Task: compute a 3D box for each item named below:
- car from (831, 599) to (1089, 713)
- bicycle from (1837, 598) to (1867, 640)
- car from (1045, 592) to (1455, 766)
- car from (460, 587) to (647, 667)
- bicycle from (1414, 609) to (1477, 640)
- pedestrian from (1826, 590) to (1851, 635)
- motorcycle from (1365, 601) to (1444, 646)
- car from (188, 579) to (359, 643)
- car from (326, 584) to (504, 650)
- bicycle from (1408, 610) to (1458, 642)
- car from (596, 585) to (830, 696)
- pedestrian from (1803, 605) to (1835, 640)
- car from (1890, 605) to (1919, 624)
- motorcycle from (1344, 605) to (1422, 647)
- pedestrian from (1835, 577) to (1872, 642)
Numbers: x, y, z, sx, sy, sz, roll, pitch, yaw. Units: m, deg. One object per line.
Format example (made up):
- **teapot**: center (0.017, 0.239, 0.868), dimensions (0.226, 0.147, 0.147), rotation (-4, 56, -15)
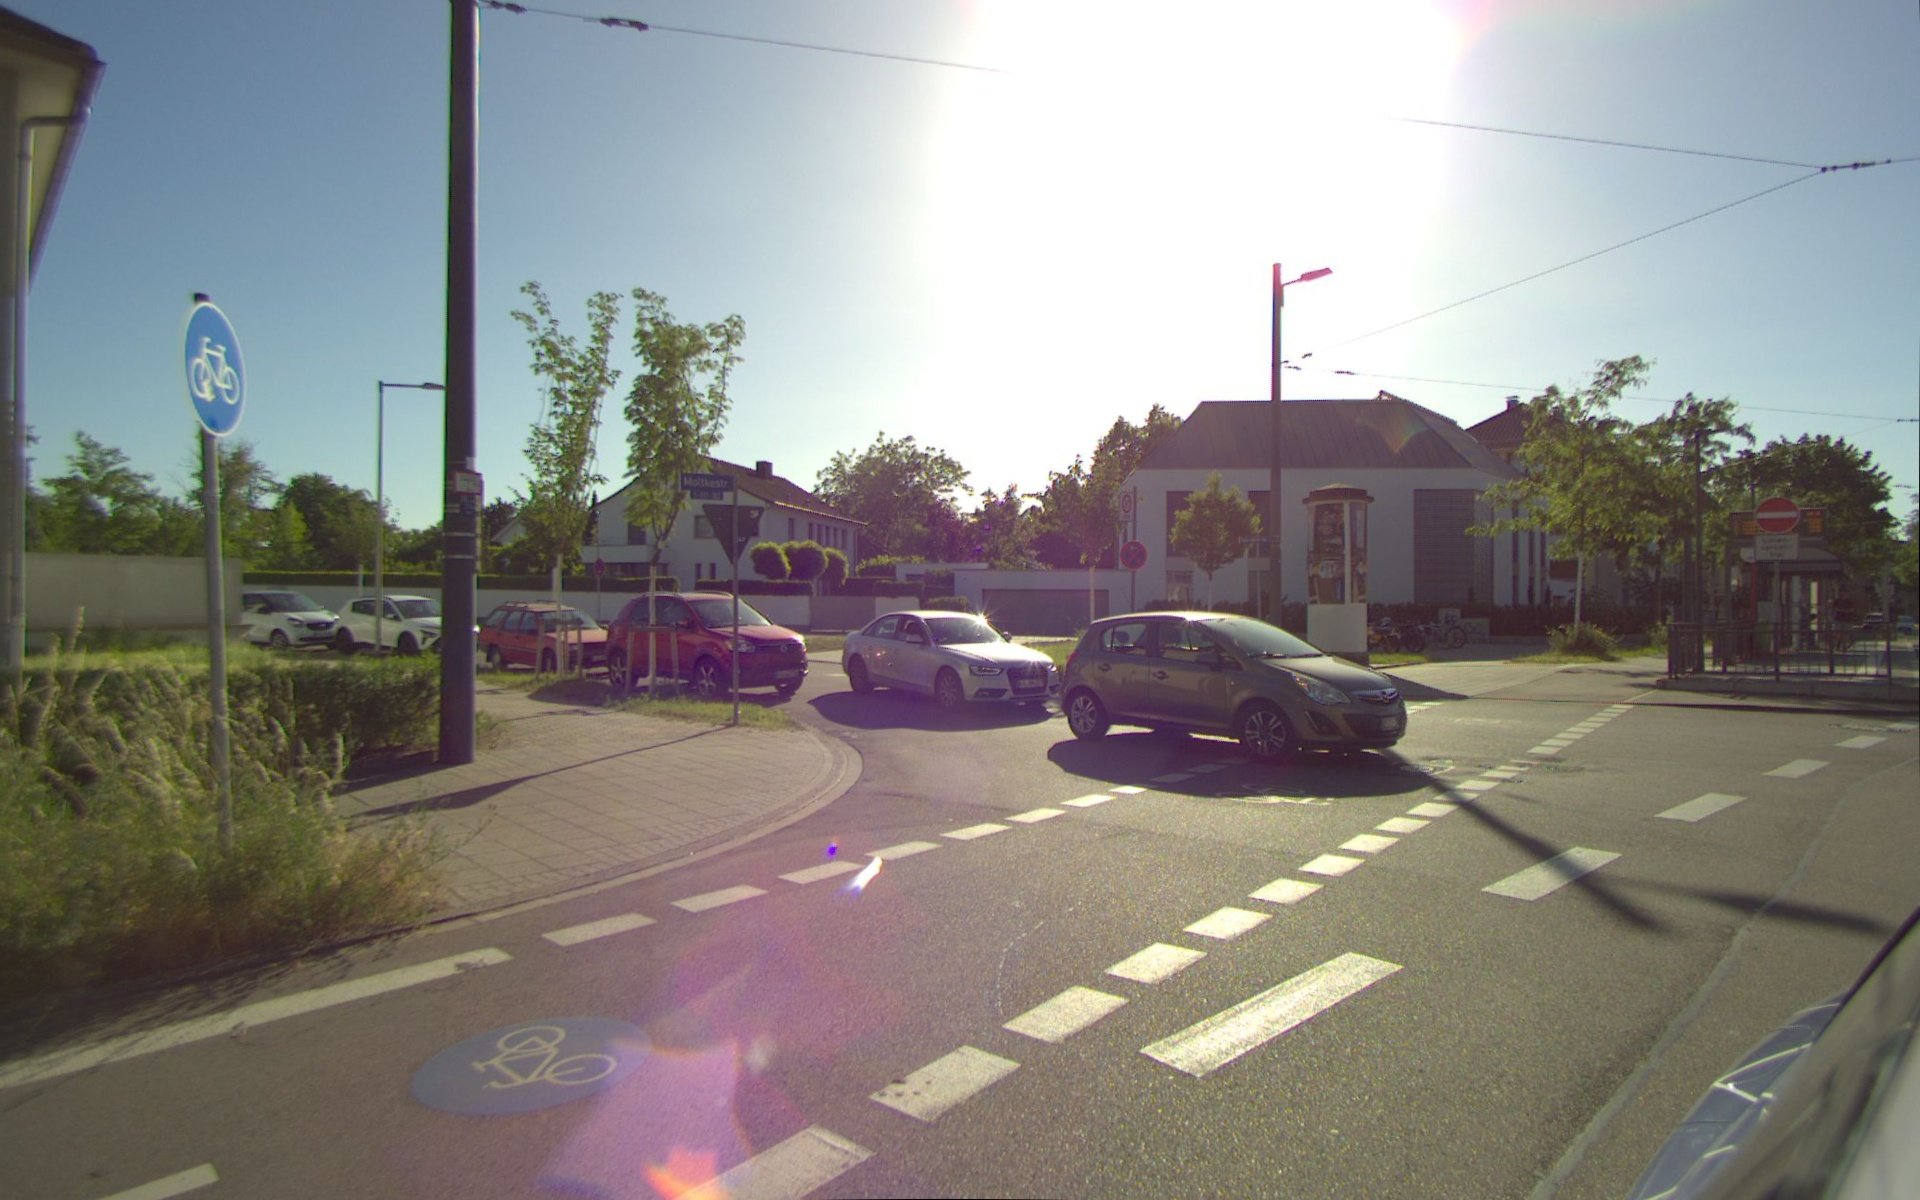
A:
- **car**: center (-0.173, 0.771, 16.388), dimensions (1.944, 1.484, 4.619), rotation (-1, 1, -34)
- **bicycle**: center (27.438, 0.573, 31.139), dimensions (0.619, 1.245, 1.938), rotation (-1, -1, 40)
- **car**: center (2.975, 0.703, 11.122), dimensions (1.945, 1.527, 3.999), rotation (0, 0, -36)
- **car**: center (-8.694, 0.522, 21.506), dimensions (4.155, 1.527, 1.954), rotation (0, -1, 39)
- **bicycle**: center (16.701, 0.834, 34.813), dimensions (1.893, 0.991, 0.484), rotation (1, 0, 38)
- **pedestrian**: center (33.945, 0.471, 39.091), dimensions (0.671, 1.726, 0.680), rotation (-2, -2, 43)
- **motorcycle**: center (13.578, 0.699, 30.952), dimensions (2.073, 1.290, 0.850), rotation (0, 0, 38)
- **car**: center (-18.345, 0.326, 27.076), dimensions (3.954, 1.594, 1.984), rotation (-1, -2, 23)
- **car**: center (-13.620, 0.397, 25.291), dimensions (4.136, 1.527, 1.963), rotation (0, 0, 27)
- **bicycle**: center (15.749, 0.857, 33.696), dimensions (1.467, 0.991, 0.410), rotation (0, 0, 38)
- **car**: center (-4.316, 0.613, 17.371), dimensions (4.161, 1.663, 1.951), rotation (0, -1, 43)
- **pedestrian**: center (27.780, 0.721, 32.737), dimensions (0.738, 1.132, 0.648), rotation (-2, -2, 44)
- **car**: center (73.308, 1.104, 78.122), dimensions (1.732, 1.477, 3.646), rotation (0, -1, 35)
- **motorcycle**: center (12.503, 0.748, 29.930), dimensions (1.994, 1.172, 0.850), rotation (1, 0, 38)
- **pedestrian**: center (26.088, 0.274, 29.556), dimensions (0.717, 1.877, 0.711), rotation (1, -2, -44)
